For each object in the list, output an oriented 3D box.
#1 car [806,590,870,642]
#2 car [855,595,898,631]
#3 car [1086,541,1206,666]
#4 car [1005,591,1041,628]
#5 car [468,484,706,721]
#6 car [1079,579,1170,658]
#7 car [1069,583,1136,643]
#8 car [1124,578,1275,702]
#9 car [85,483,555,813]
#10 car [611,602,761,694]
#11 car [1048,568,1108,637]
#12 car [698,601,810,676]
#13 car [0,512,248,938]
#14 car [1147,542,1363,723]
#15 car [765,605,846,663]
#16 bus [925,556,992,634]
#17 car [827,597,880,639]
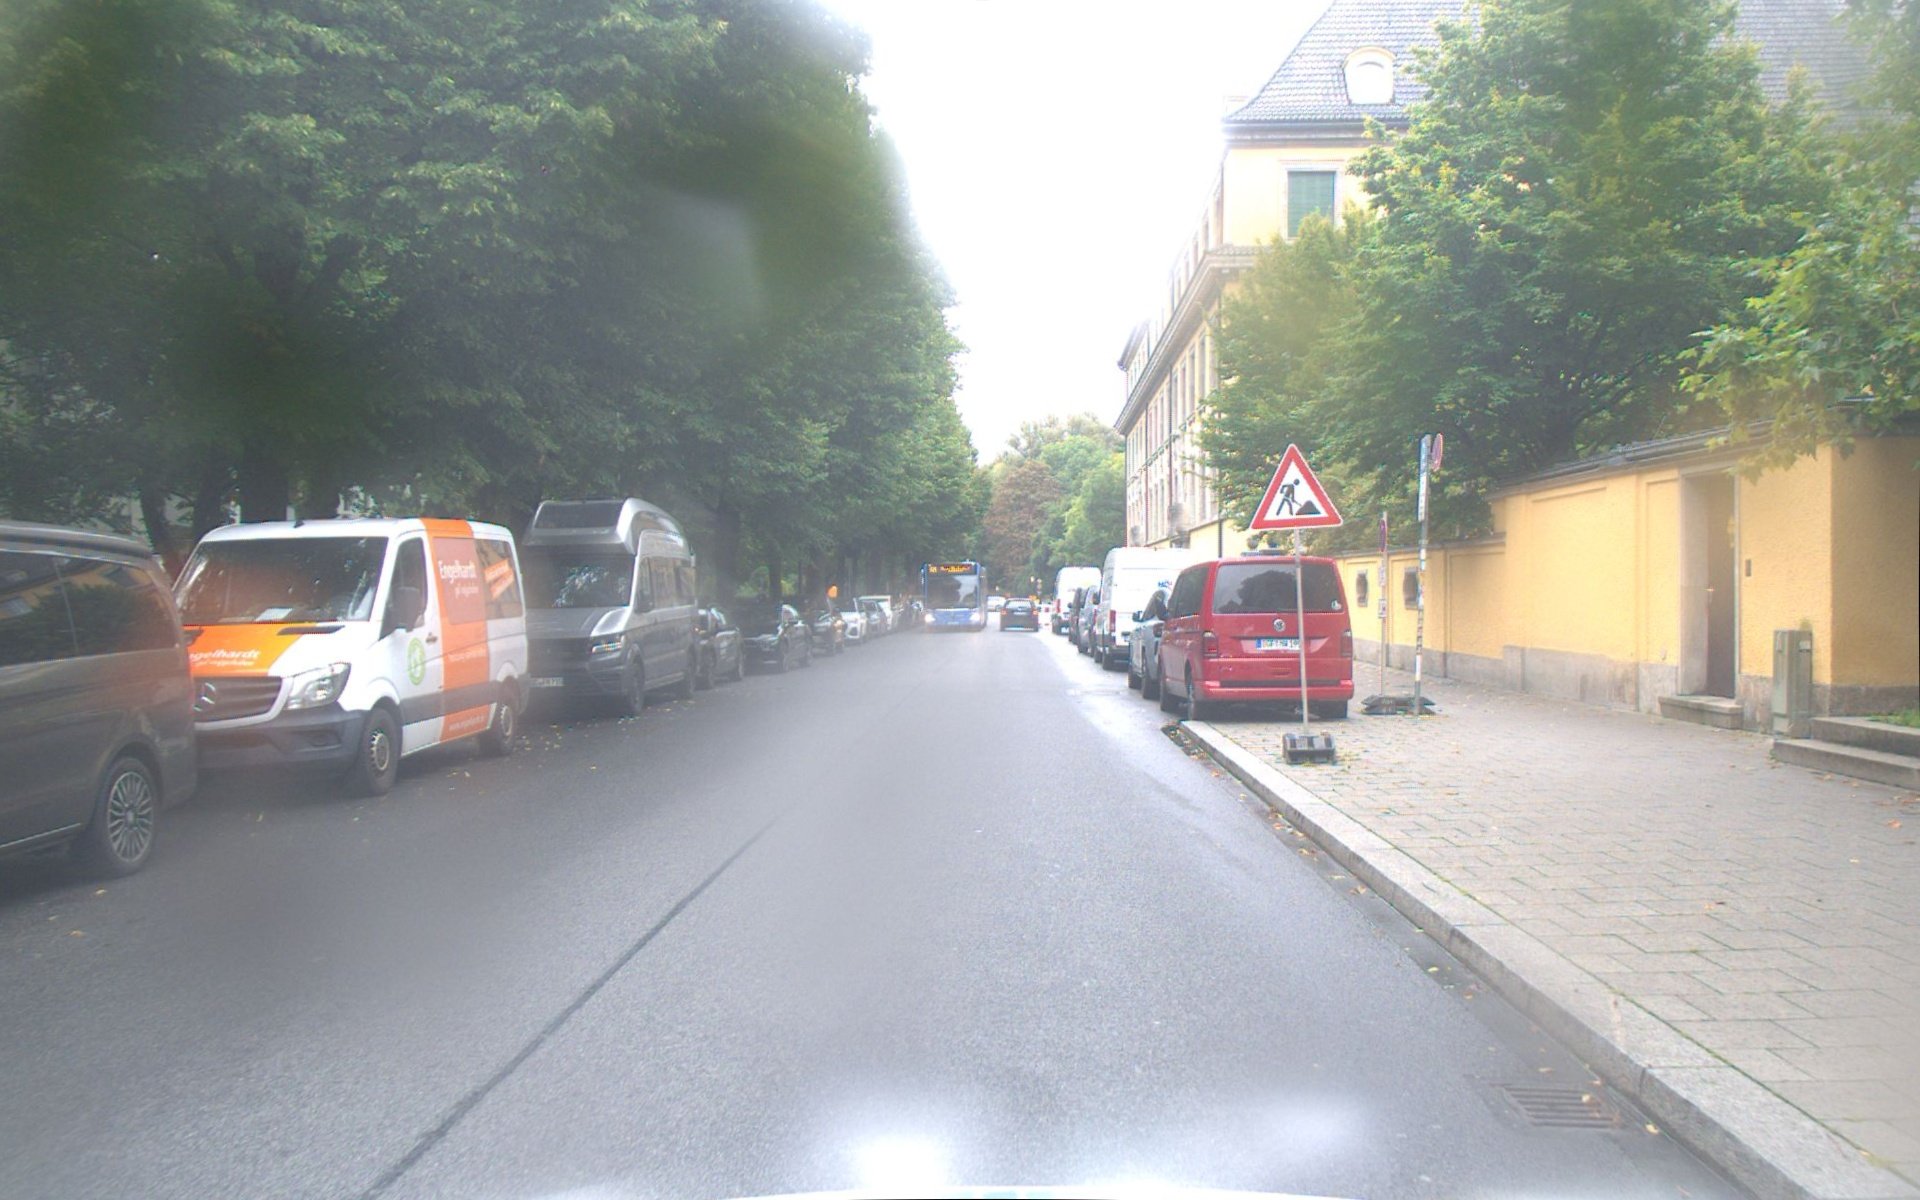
[{"bbox_3d":[-4.040,0.525,55.287,1.747,1.625,4.584,-1,0,0],"label":"car"},{"bbox_3d":[-3.557,0.551,71.047,1.638,1.495,4.104,-1,0,0],"label":"car"},{"bbox_3d":[4.017,0.123,36.637,2.052,2.531,5.740,-1,-1,1],"label":"car"},{"bbox_3d":[2.817,0.412,73.895,1.544,1.611,4.045,-1,0,3],"label":"car"},{"bbox_3d":[-5.073,0.079,23.487,1.905,2.904,6.236,-1,-1,0],"label":"car"},{"bbox_3d":[4.320,0.469,44.176,1.972,1.940,5.164,1,0,1],"label":"car"},{"bbox_3d":[4.704,0.432,55.258,1.832,1.902,4.986,-1,0,0],"label":"car"},{"bbox_3d":[3.719,0.585,26.413,1.820,1.772,4.603,1,0,1],"label":"car"},{"bbox_3d":[-5.347,0.389,14.810,2.071,2.390,5.408,-1,-1,0],"label":"car"},{"bbox_3d":[-4.860,0.810,29.981,1.752,1.463,4.580,-1,1,2],"label":"car"},{"bbox_3d":[4.882,0.112,69.424,2.012,2.720,7.614,-1,0,0],"label":"car"},{"bbox_3d":[-4.288,0.801,35.085,1.753,1.463,4.551,-1,-1,0],"label":"car"},{"bbox_3d":[-5.474,0.611,7.670,1.905,1.998,5.460,-2,0,0],"label":"car"},{"bbox_3d":[3.596,0.404,21.135,1.820,2.002,5.444,-1,-1,1],"label":"car"},{"bbox_3d":[-4.108,0.913,44.518,1.753,1.479,3.948,-1,-1,0],"label":"car"},{"bbox_3d":[0.124,-0.066,79.522,2.800,3.296,18.427,-1,-1,1],"label":"bus"},{"bbox_3d":[-3.925,0.653,61.457,1.638,1.495,4.104,-1,0,0],"label":"car"}]
